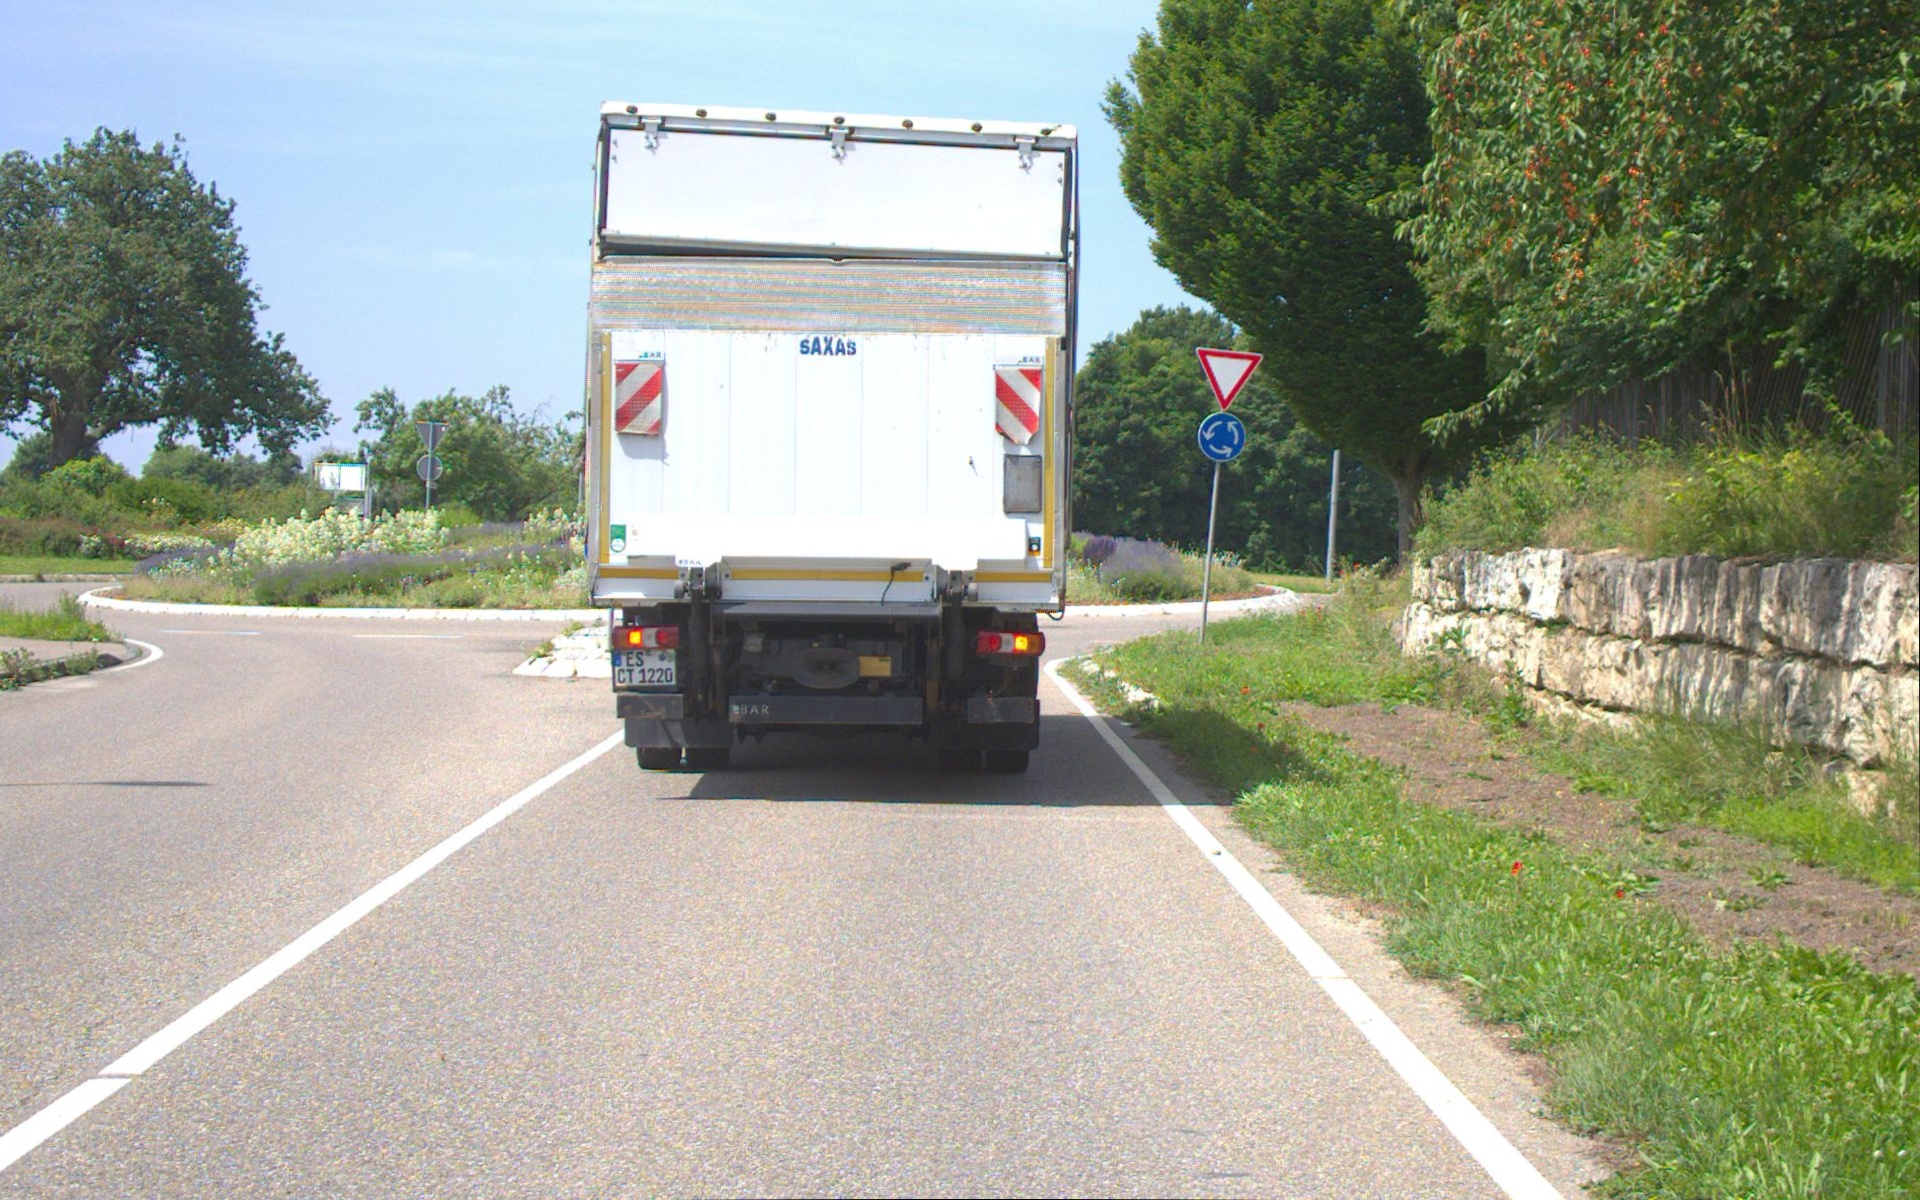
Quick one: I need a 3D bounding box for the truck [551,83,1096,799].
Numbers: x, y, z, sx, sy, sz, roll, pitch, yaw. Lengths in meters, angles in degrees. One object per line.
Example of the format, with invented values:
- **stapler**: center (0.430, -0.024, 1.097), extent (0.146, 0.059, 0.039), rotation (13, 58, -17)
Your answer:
- **truck**: center (-0.869, -0.932, 22.509), extent (2.766, 3.658, 9.384), rotation (1, 1, -2)
